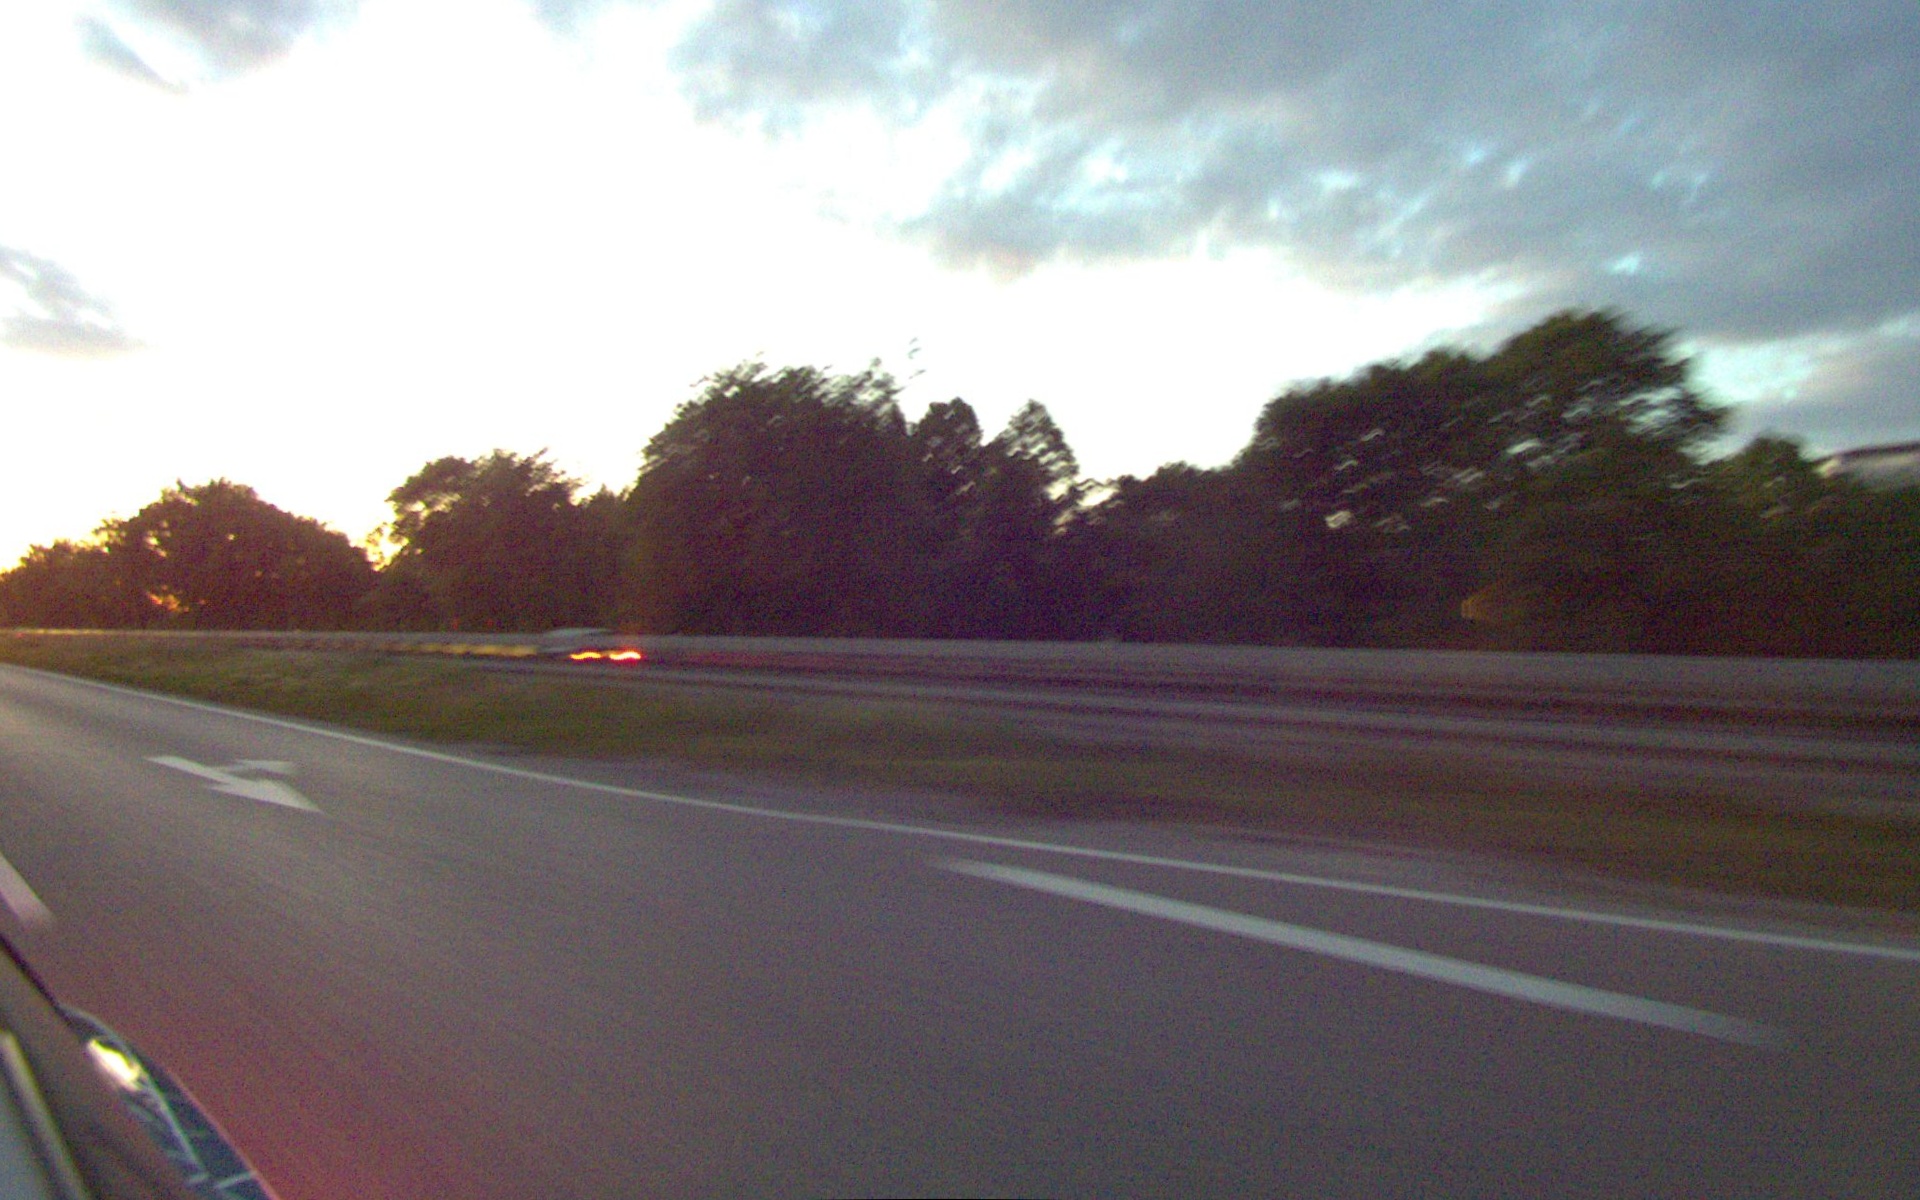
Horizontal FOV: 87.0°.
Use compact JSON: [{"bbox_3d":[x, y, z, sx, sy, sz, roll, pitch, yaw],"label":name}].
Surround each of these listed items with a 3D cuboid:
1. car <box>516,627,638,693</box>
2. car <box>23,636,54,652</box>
[{"bbox_3d":[-11.249,1.698,29.638,3.998,1.771,1.652,-2,-1,41],"label":"car"},{"bbox_3d":[-84.517,4.002,92.831,3.937,1.333,1.612,-2,-1,41],"label":"car"}]
